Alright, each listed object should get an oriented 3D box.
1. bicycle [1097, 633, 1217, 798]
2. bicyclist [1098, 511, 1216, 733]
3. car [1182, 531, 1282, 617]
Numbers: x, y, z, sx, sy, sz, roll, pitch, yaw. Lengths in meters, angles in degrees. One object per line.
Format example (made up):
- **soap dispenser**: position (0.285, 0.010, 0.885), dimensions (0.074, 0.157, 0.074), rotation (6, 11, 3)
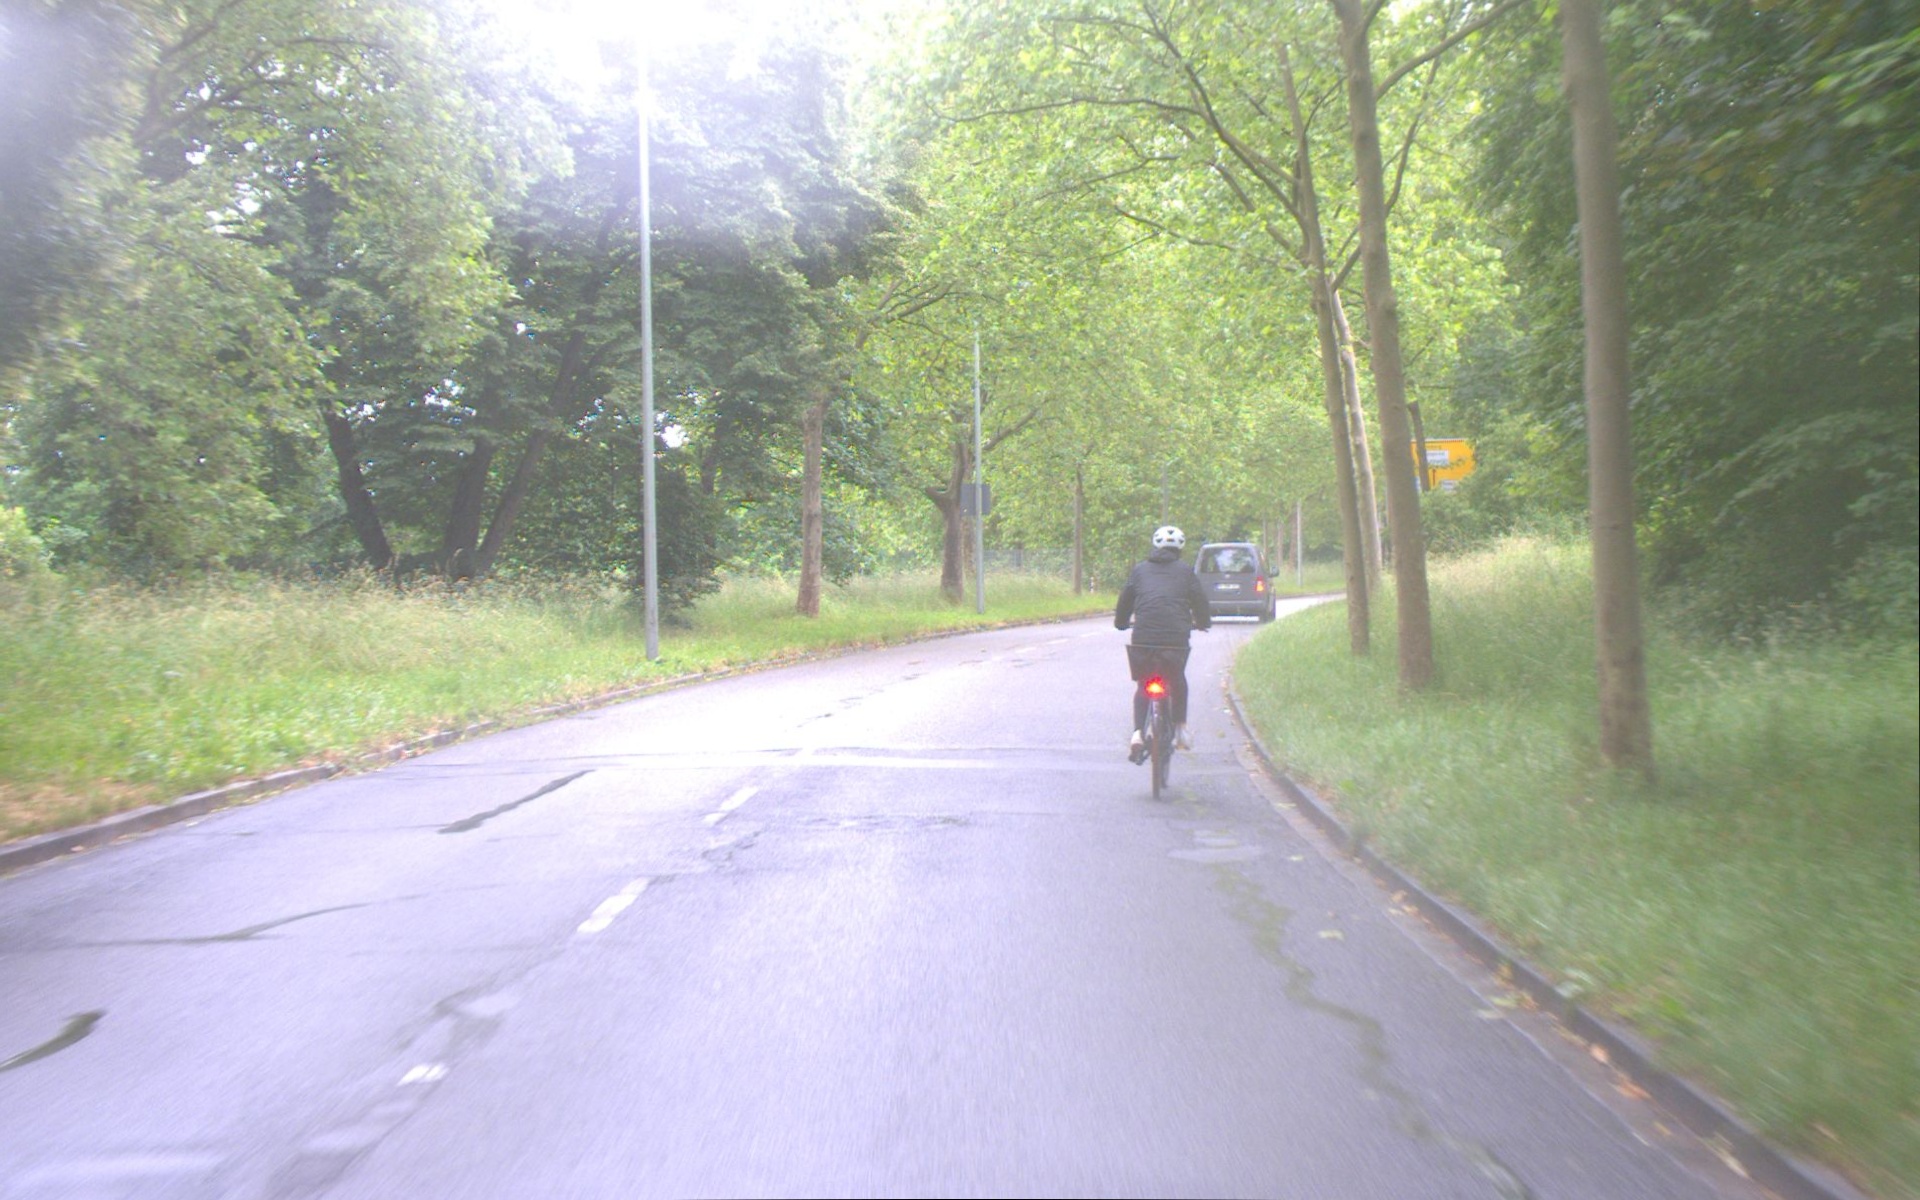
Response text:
- **bicycle**: position (1.274, 0.730, 22.559), dimensions (0.730, 0.970, 2.173), rotation (1, 1, 2)
- **bicyclist**: position (1.274, 0.132, 22.372), dimensions (0.730, 1.406, 0.973), rotation (1, 1, 2)
- **car**: position (6.298, -0.623, 79.230), dimensions (1.986, 1.919, 3.999), rotation (0, 1, 9)
